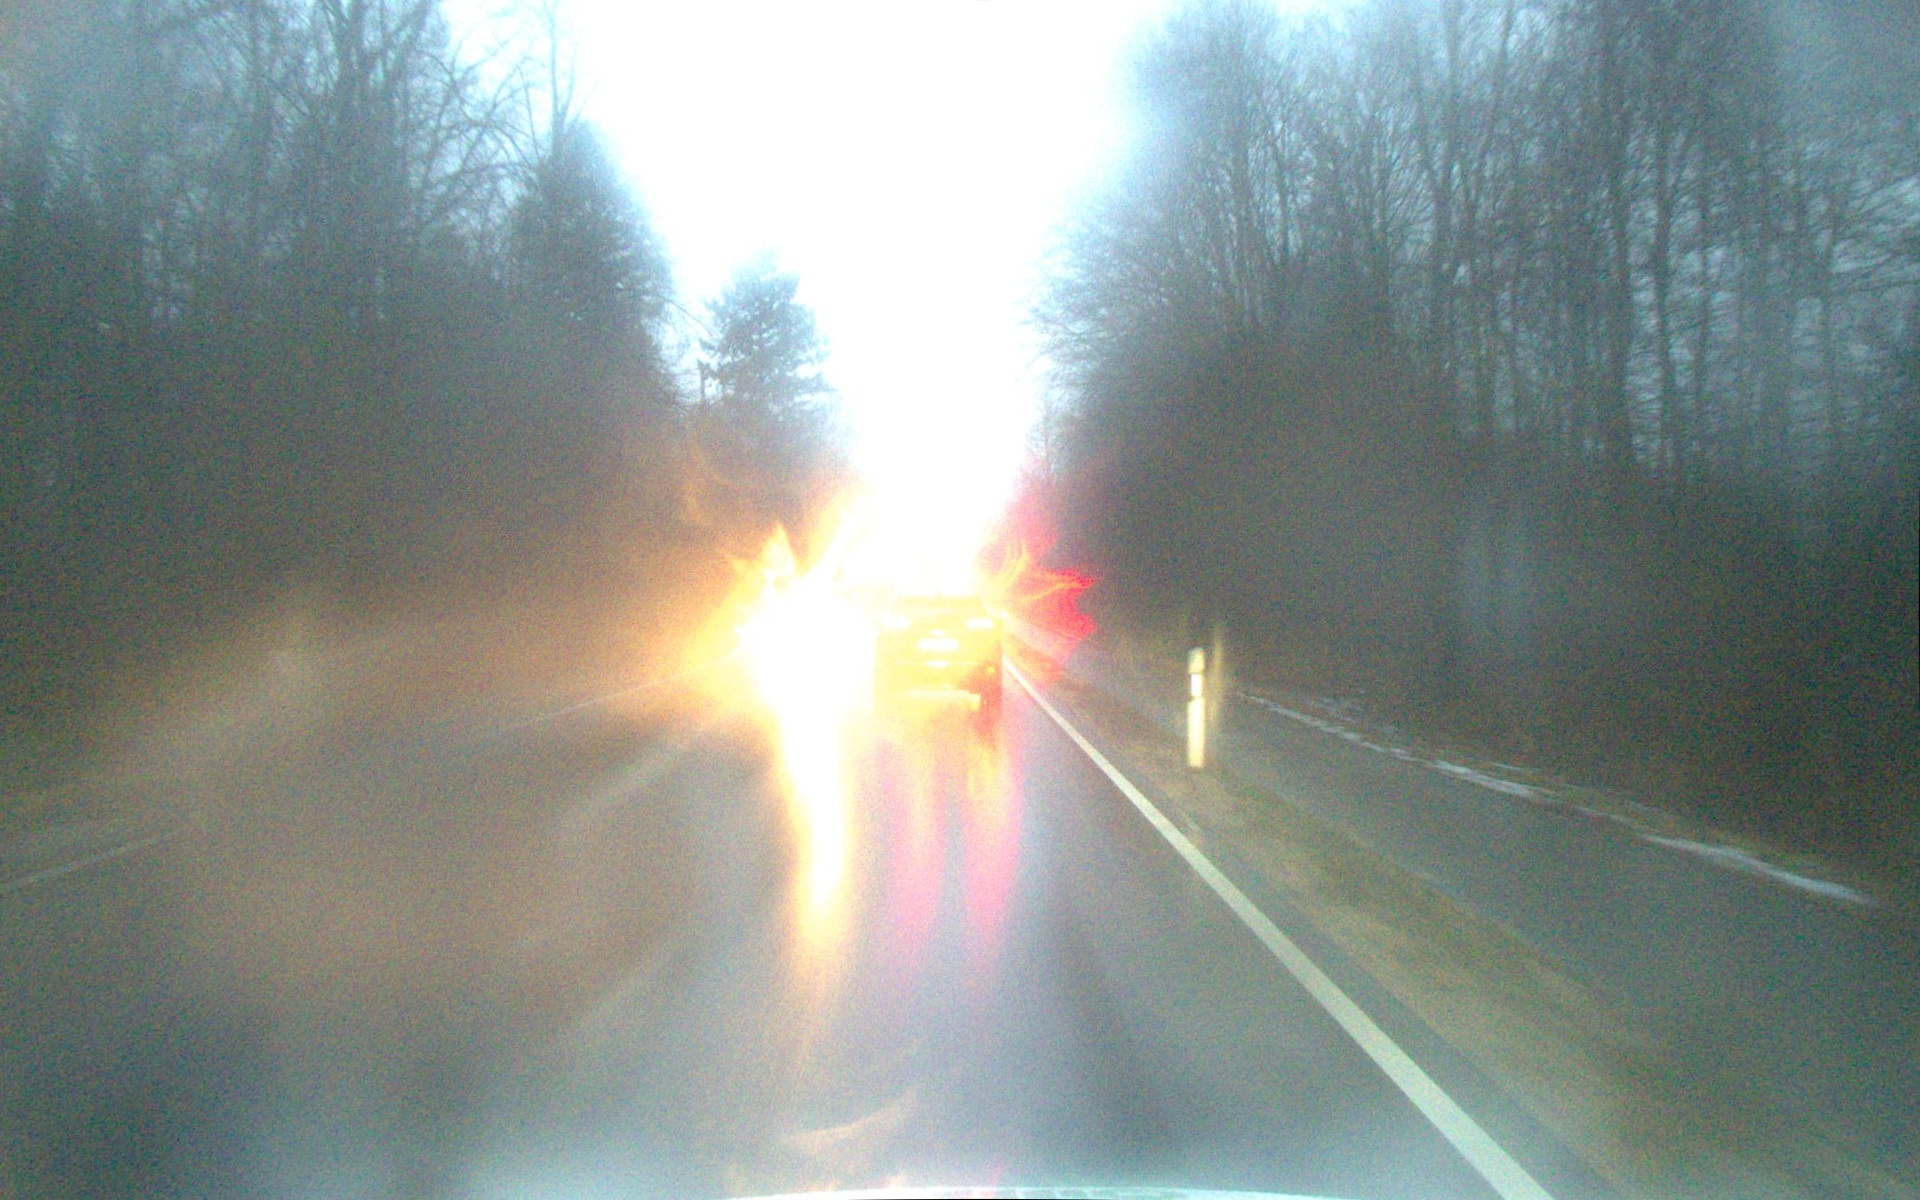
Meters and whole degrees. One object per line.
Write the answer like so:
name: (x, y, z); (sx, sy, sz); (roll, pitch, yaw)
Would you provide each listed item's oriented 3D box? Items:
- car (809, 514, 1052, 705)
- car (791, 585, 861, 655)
car: (-0.395, 0.111, 24.756); (3.118, 2.428, 6.636); (1, 0, 0)
car: (-3.923, 0.567, 49.011); (1.760, 1.914, 4.424); (-2, 0, -1)
